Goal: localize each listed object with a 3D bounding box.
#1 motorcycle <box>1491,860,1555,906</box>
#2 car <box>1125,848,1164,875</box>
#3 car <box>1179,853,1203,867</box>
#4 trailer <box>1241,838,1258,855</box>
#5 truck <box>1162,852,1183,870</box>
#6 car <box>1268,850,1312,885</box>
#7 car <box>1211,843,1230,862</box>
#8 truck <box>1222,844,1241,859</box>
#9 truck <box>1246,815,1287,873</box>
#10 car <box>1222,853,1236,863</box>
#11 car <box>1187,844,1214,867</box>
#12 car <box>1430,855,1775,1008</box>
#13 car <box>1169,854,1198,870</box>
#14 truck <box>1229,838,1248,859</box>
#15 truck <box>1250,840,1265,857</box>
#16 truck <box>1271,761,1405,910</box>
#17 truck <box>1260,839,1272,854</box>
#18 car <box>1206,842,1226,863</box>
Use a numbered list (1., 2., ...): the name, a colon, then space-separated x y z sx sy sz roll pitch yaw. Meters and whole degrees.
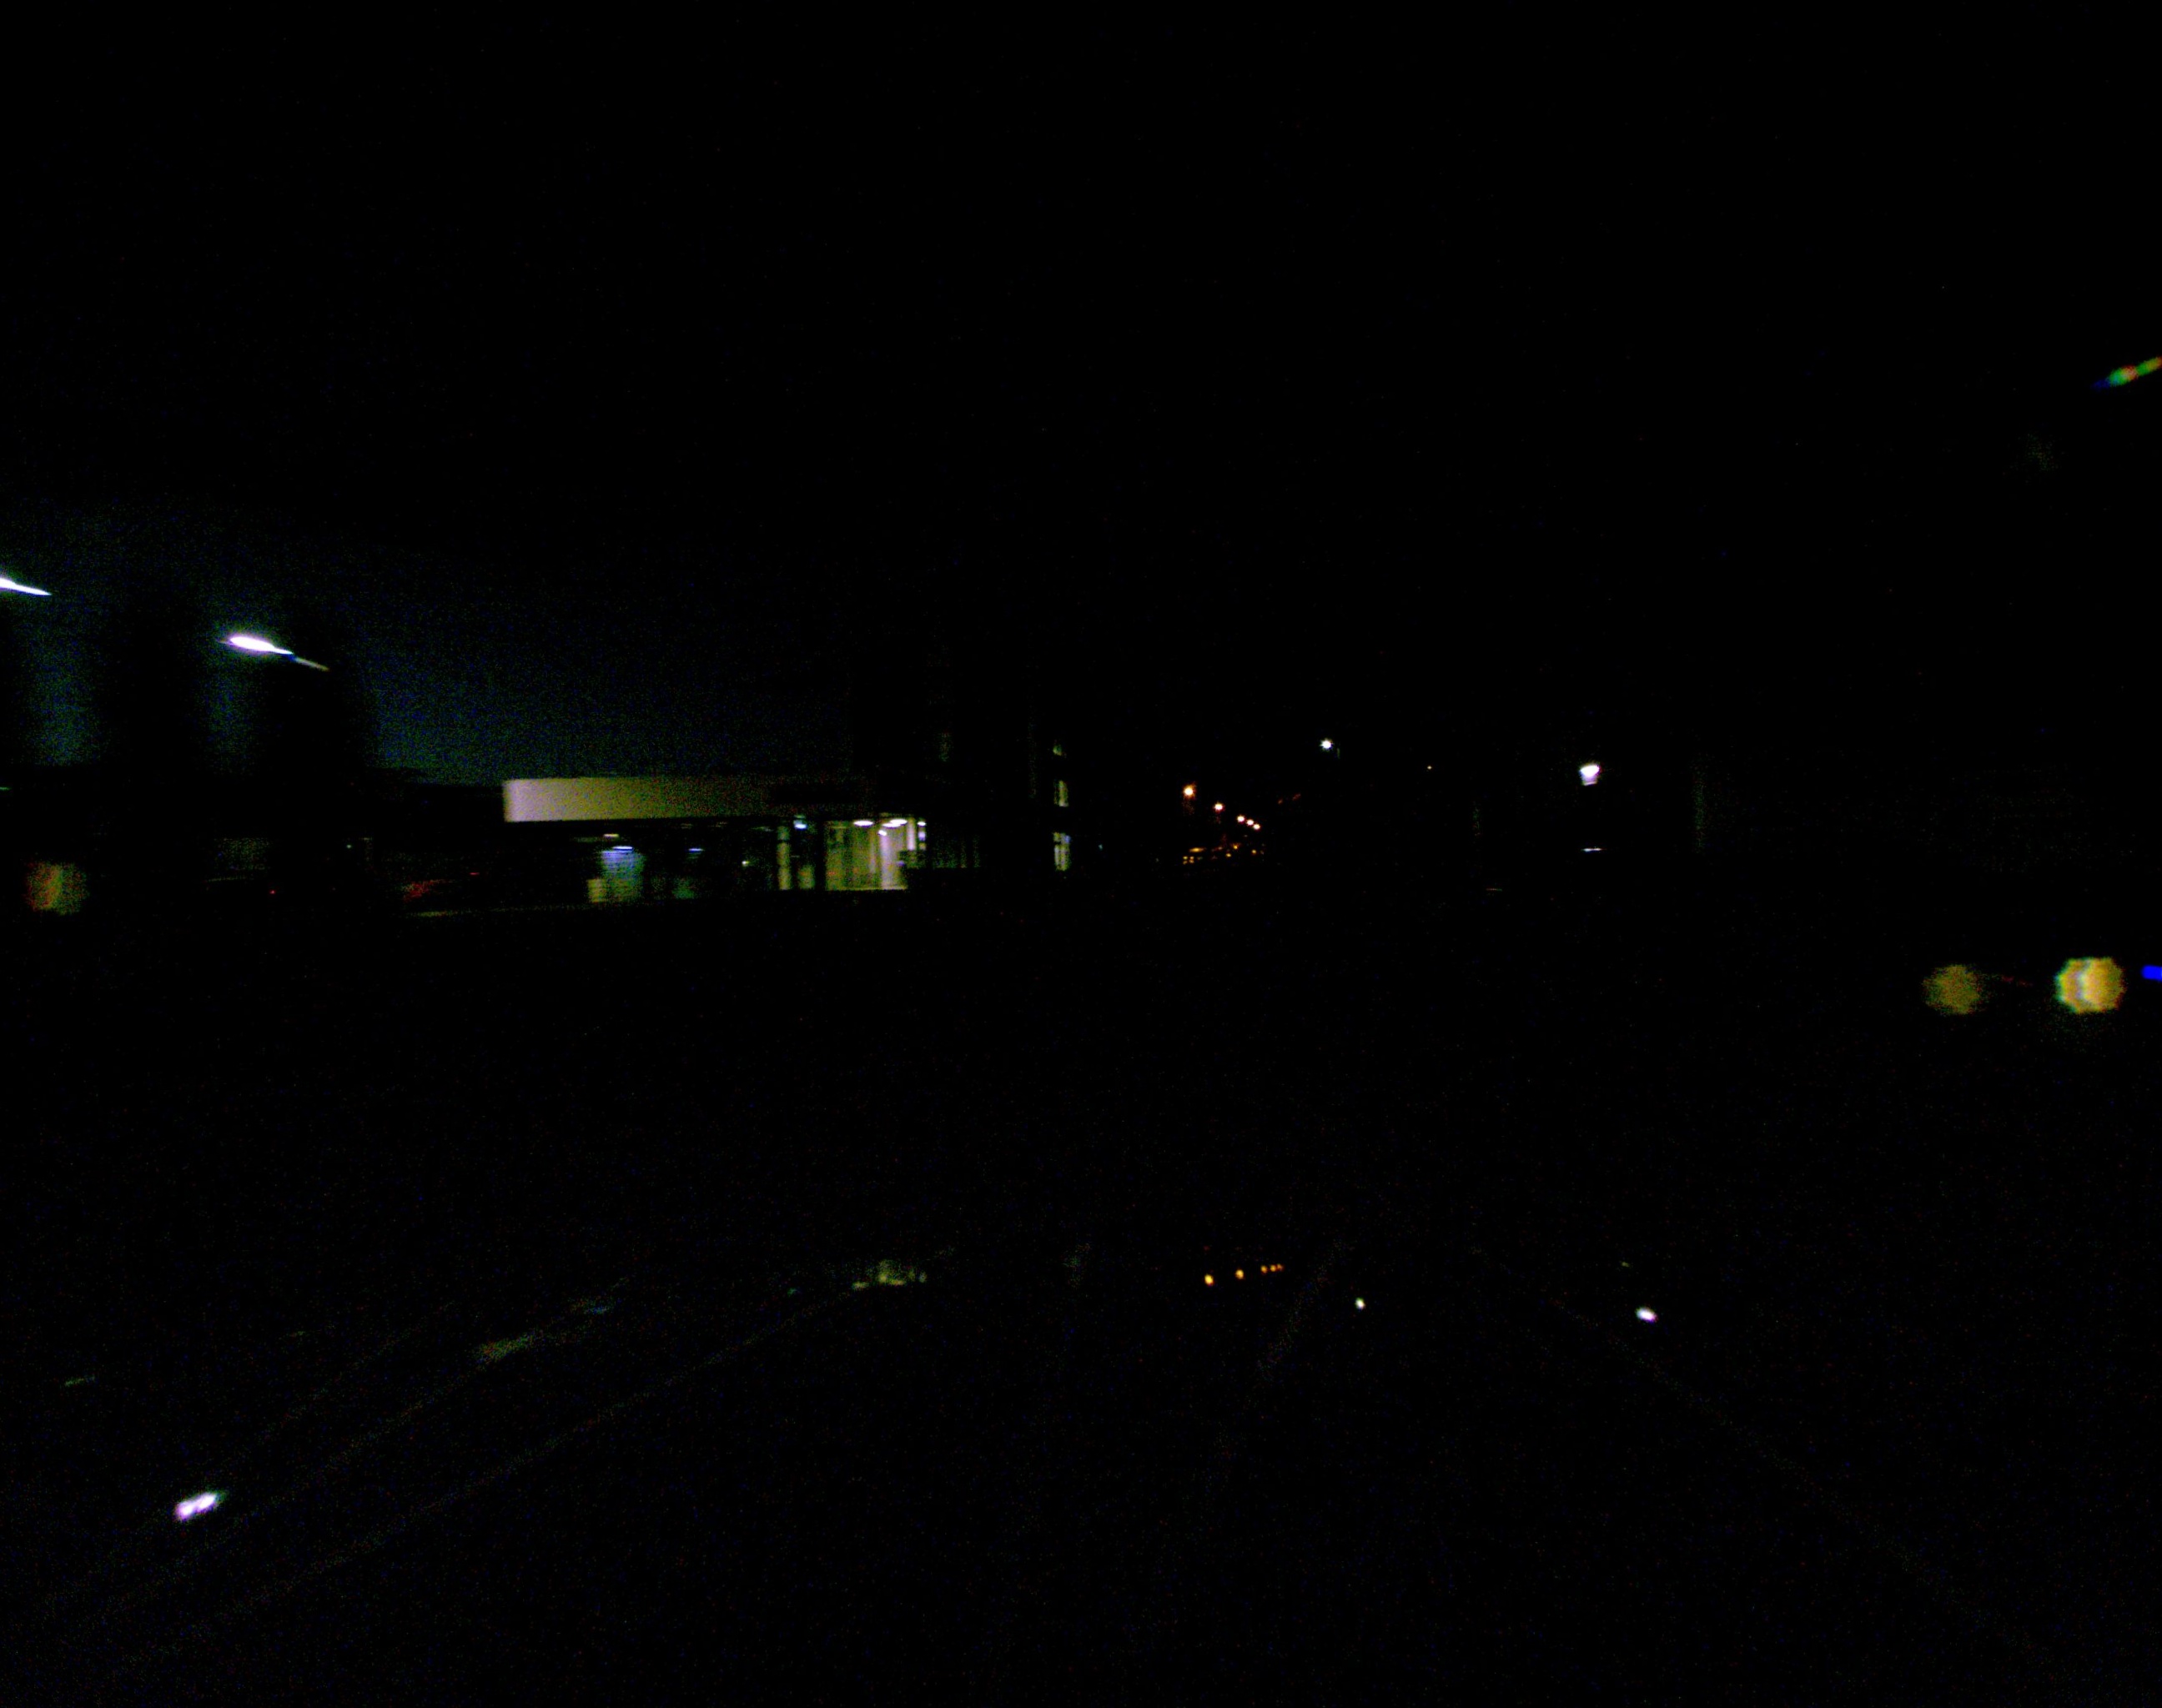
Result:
1. motorcycle: 12.077 0.772 20.754 1.694 1.095 0.530 -5 2 -22
2. car: 4.954 0.561 58.930 1.996 2.002 4.918 -1 0 16
3. car: 12.209 0.626 83.768 1.771 1.404 4.556 -2 0 19
4. trailer: 37.114 -1.674 167.144 2.882 3.503 8.294 -2 0 17
5. truck: 8.833 0.686 73.023 1.372 1.635 3.816 -1 0 15
6. car: 11.032 0.643 40.385 1.947 1.707 5.203 -1 0 12
7. car: 20.268 -0.221 110.137 1.996 2.555 6.021 -4 -1 16
8. truck: 26.041 -0.447 131.019 2.404 2.578 6.606 -2 0 18
9. truck: 14.366 -0.725 58.599 2.750 4.010 9.570 -2 0 15
10. car: 24.298 0.636 124.687 1.832 1.399 4.914 -4 -1 16
11. car: 14.229 0.133 90.023 1.996 2.510 5.917 -4 -1 19
12. car: 6.534 0.828 10.284 1.870 1.583 4.496 -2 0 5
13. car: 10.546 0.787 77.649 1.948 1.480 5.017 -2 0 19
14. truck: 29.252 -0.968 140.827 2.769 3.741 5.234 -3 0 17
15. truck: 44.856 -1.309 193.080 2.794 3.946 9.833 -3 -1 16
16. truck: 8.325 -0.514 25.849 2.777 4.096 9.347 -1 0 9
17. truck: 54.355 -2.076 222.927 2.657 3.850 10.246 -3 -2 17
18. car: 18.336 -0.186 103.301 2.131 2.555 5.915 -4 -1 14
